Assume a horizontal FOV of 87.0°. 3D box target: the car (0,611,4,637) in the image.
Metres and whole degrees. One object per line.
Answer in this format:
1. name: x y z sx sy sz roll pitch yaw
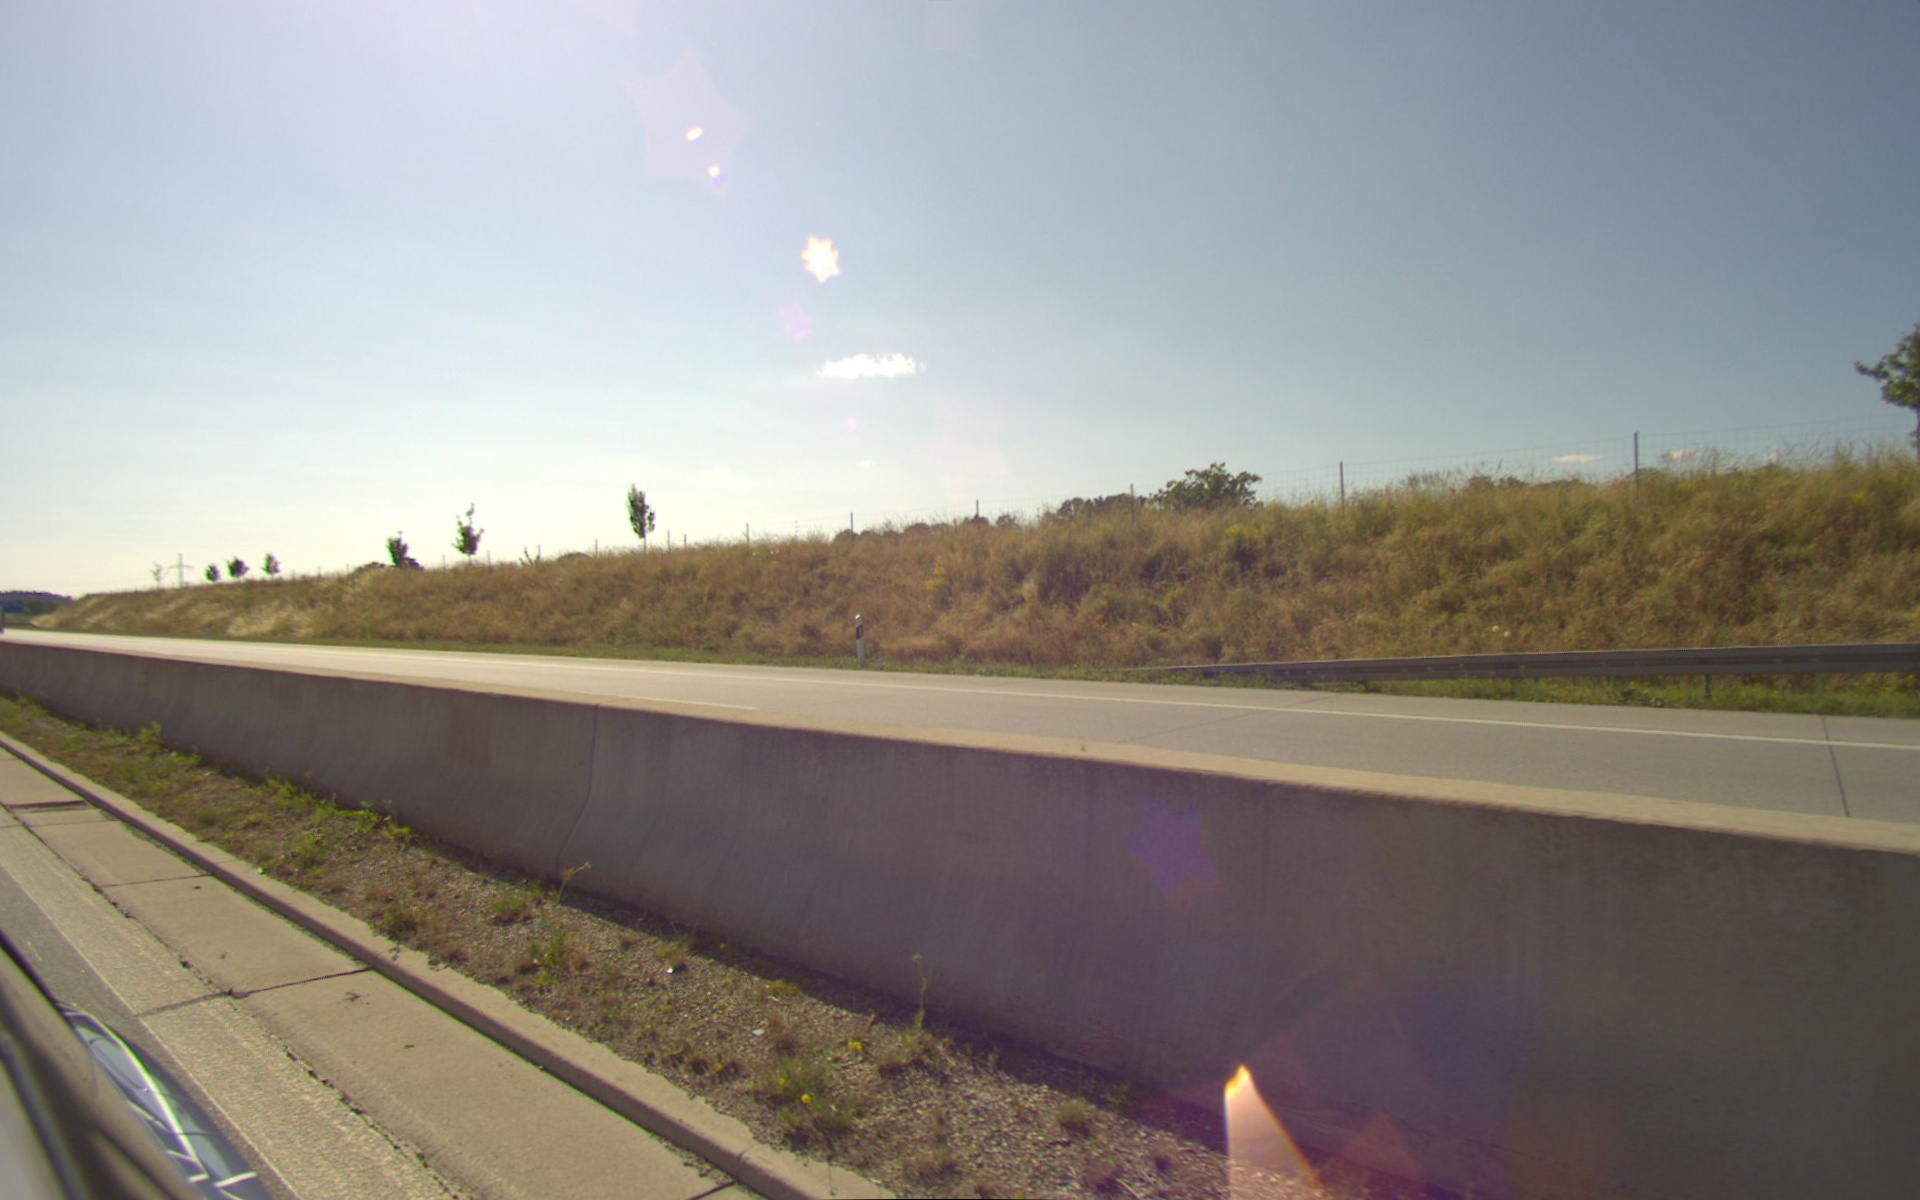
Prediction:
1. car: -74.910 1.812 77.260 5.791 1.949 2.211 -1 -1 41
